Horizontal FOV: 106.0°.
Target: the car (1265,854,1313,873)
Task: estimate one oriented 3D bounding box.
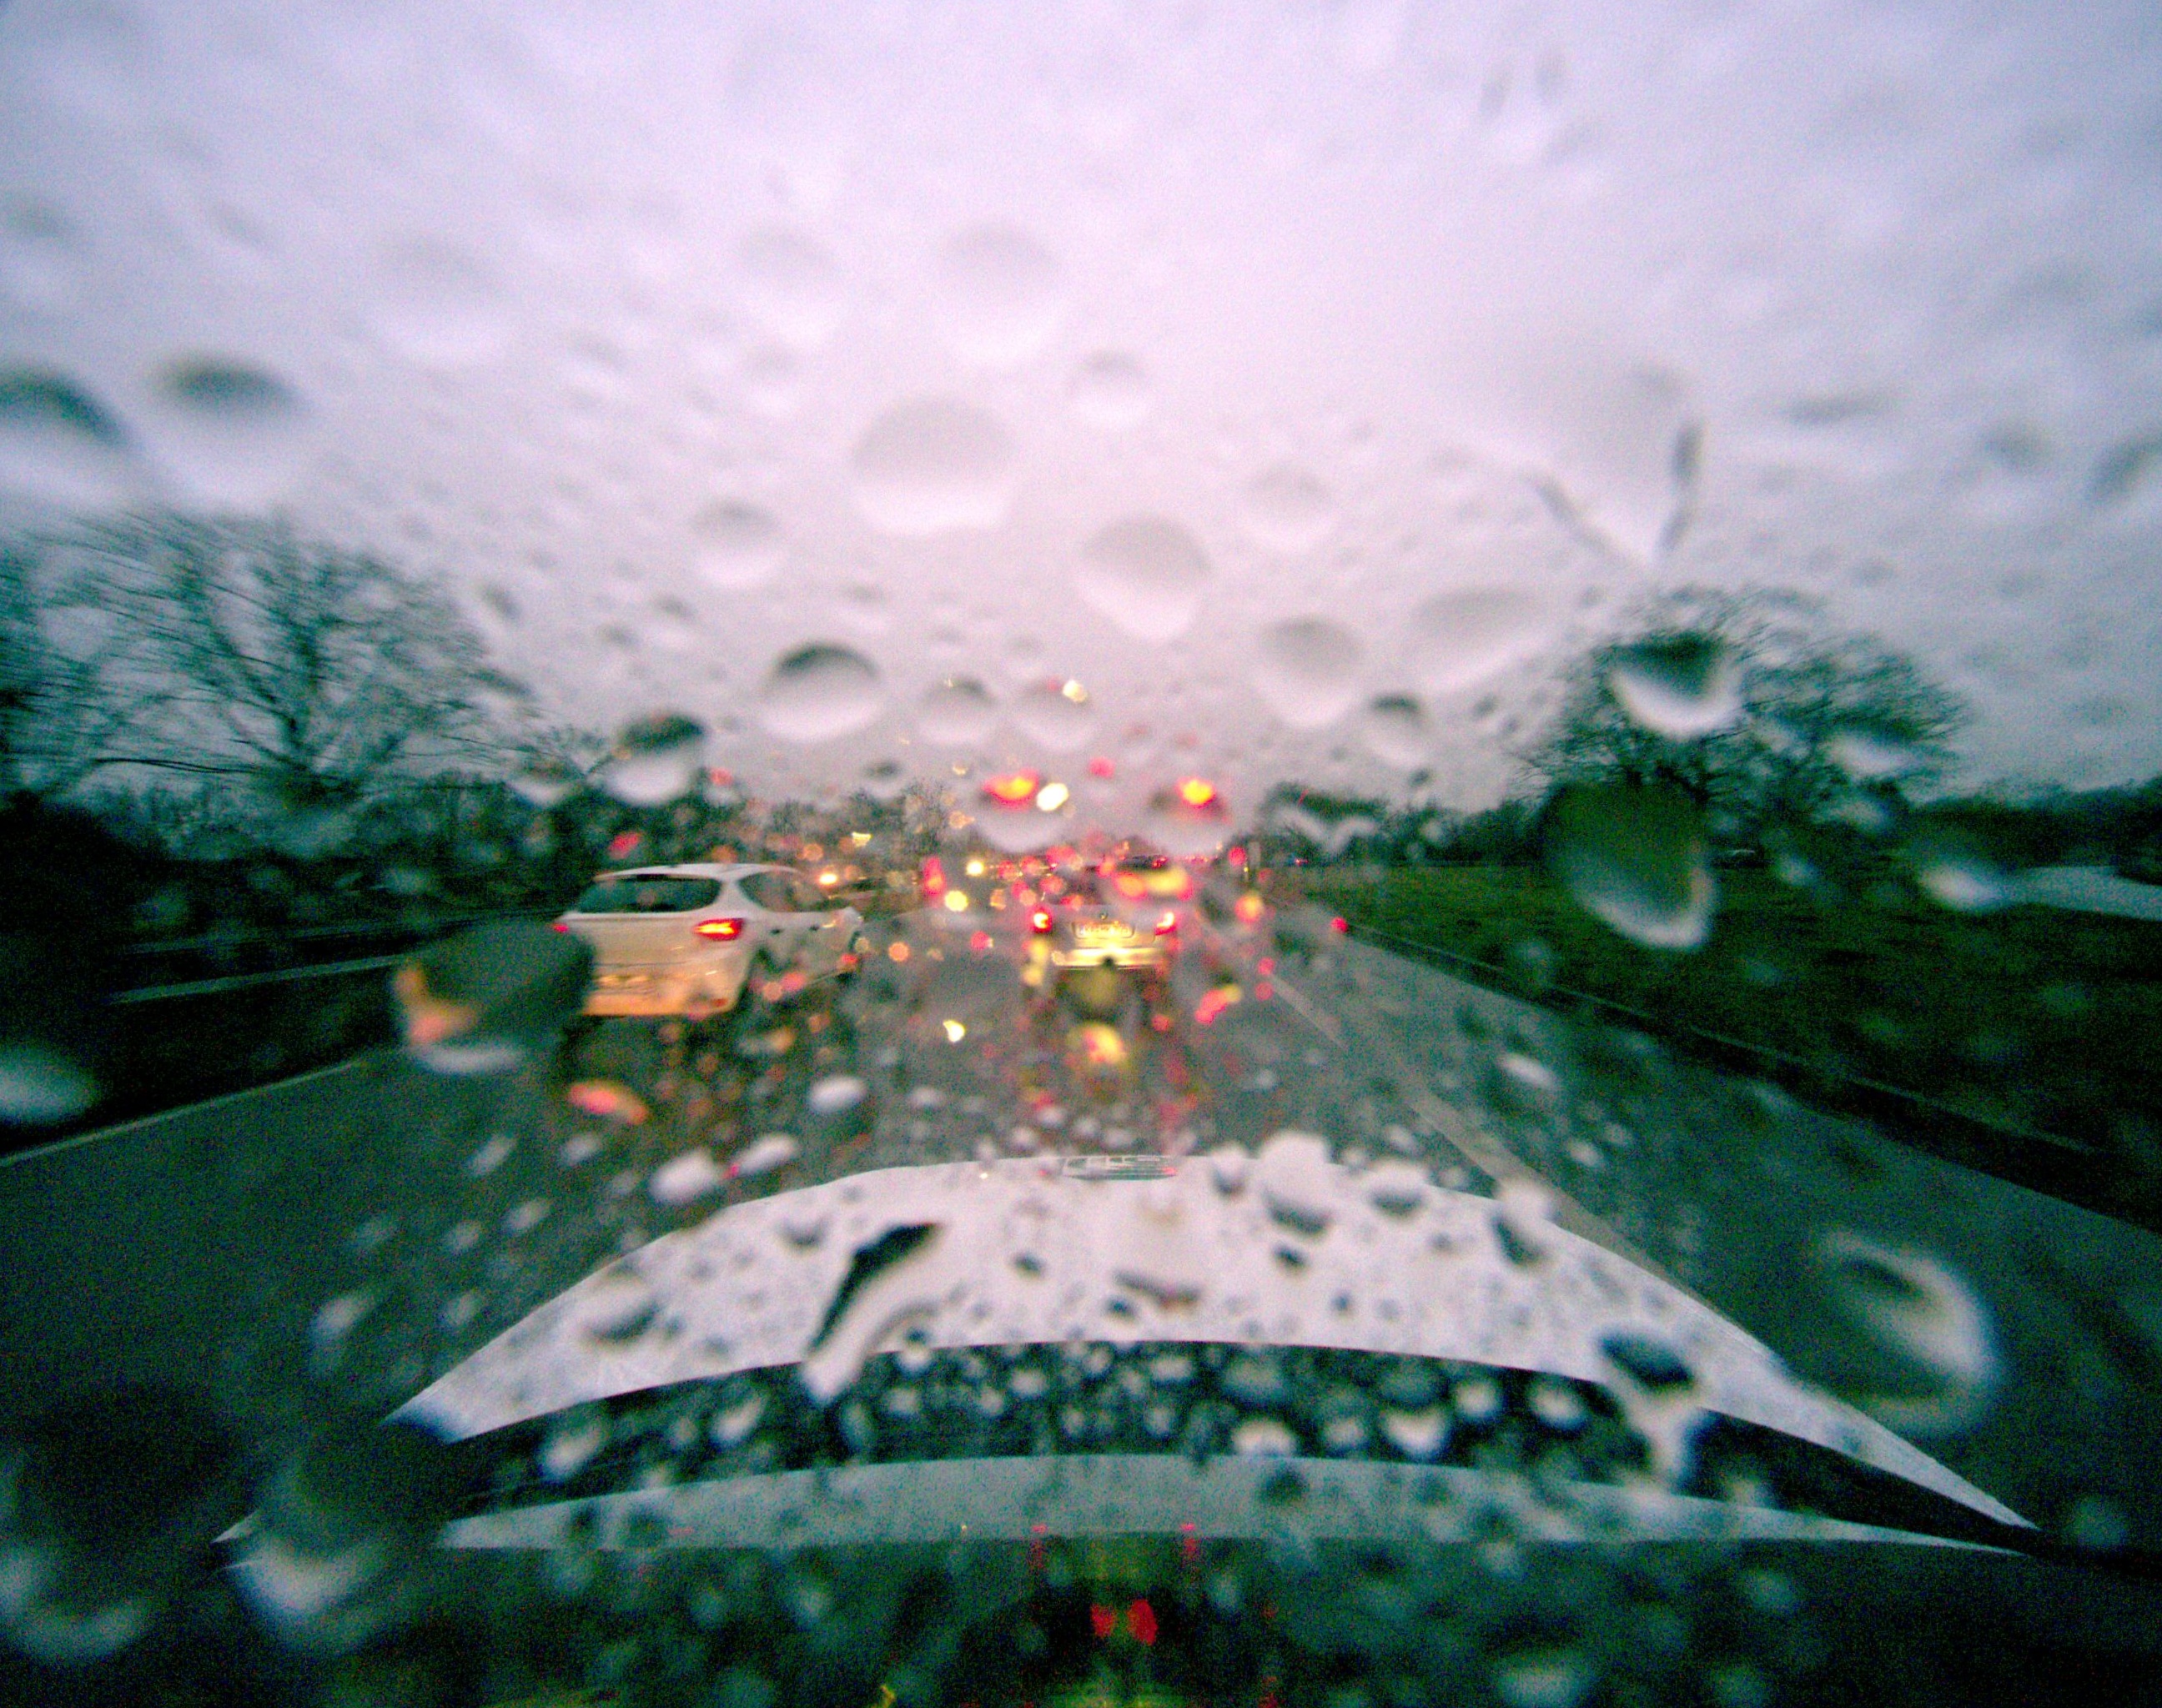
[{"bbox_3d":[18.934,0.883,74.319,1.803,1.545,3.956,-2,0,-36],"label":"car"}]

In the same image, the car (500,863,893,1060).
[{"bbox_3d":[-3.472,0.859,8.394,1.716,1.440,4.231,-2,0,5],"label":"car"}]

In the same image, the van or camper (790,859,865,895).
[{"bbox_3d":[-13.171,1.148,42.629,1.751,1.736,4.895,-2,0,8],"label":"van or camper"}]

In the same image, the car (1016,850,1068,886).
[{"bbox_3d":[-1.774,0.619,38.611,1.985,1.601,4.312,0,0,3],"label":"car"}]

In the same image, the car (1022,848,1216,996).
[{"bbox_3d":[0.539,0.732,10.616,1.985,1.500,4.142,-2,-1,4],"label":"car"}]

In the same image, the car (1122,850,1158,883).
[{"bbox_3d":[3.380,0.676,46.509,1.888,1.767,4.314,-2,0,5],"label":"car"}]

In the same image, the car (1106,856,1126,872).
[{"bbox_3d":[3.490,0.990,81.361,1.781,1.545,4.005,-2,0,5],"label":"car"}]

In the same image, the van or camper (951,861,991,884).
[{"bbox_3d":[-7.542,1.248,56.258,1.518,1.481,4.444,-2,0,8],"label":"van or camper"}]
